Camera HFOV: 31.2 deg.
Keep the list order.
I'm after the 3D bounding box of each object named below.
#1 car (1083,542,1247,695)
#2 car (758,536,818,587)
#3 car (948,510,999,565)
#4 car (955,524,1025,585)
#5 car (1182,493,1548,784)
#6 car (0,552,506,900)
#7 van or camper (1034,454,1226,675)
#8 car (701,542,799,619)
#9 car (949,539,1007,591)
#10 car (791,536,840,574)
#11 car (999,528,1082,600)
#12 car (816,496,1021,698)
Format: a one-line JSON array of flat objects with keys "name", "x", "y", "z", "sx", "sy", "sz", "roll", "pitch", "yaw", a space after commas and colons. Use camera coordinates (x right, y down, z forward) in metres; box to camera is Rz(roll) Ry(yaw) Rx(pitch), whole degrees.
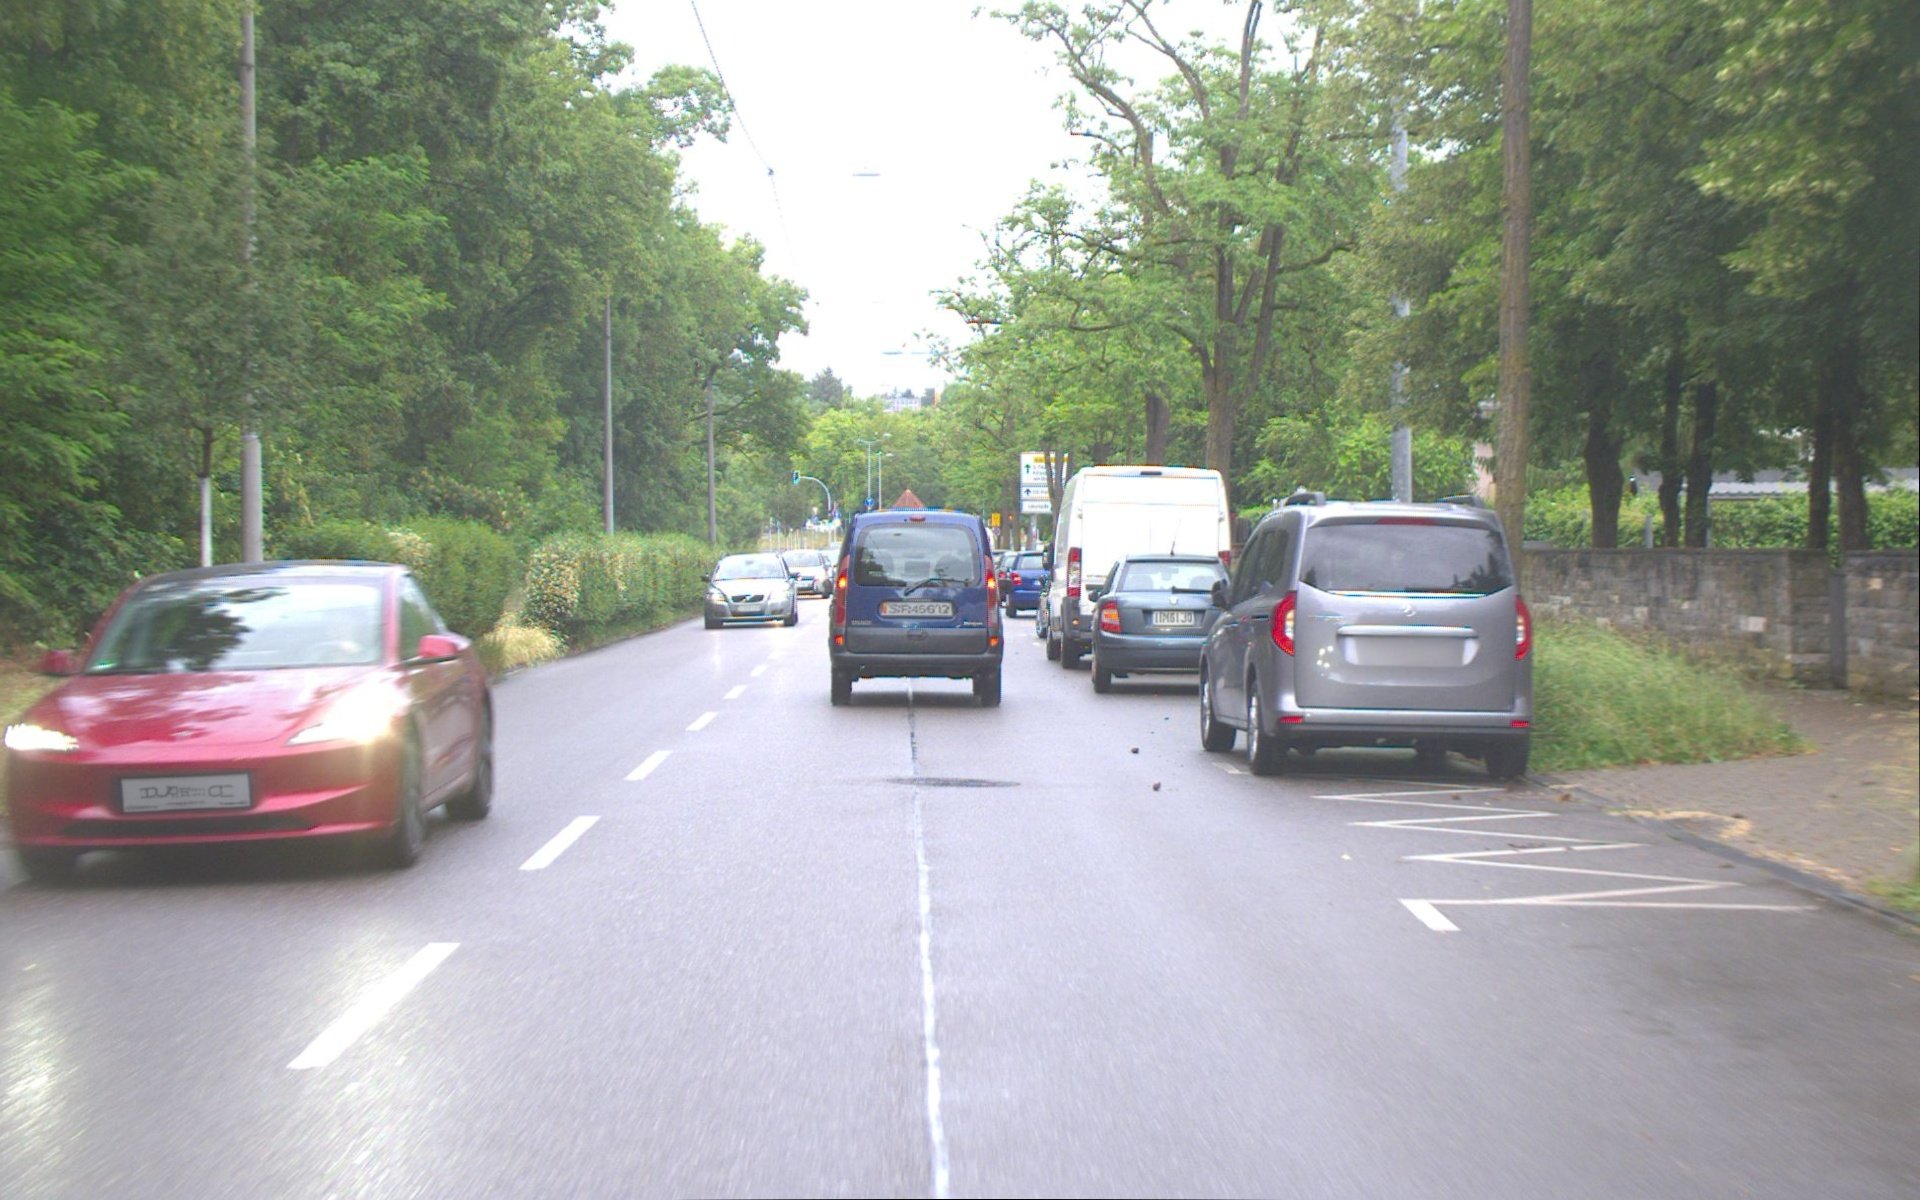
[{"name": "car", "x": 2.146, "y": 0.154, "z": 36.682, "sx": 1.626, "sy": 1.459, "sz": 3.808, "roll": 1, "pitch": 2, "yaw": 2}, {"name": "car", "x": -5.395, "y": -1.236, "z": 108.388, "sx": 1.729, "sy": 1.487, "sz": 4.001, "roll": -1, "pitch": 2, "yaw": -1}, {"name": "car", "x": 0.592, "y": -2.790, "z": 154.613, "sx": 2.205, "sy": 2.441, "sz": 4.729, "roll": 0, "pitch": 1, "yaw": -1}, {"name": "car", "x": 0.763, "y": -1.221, "z": 90.539, "sx": 1.618, "sy": 1.503, "sz": 3.835, "roll": 1, "pitch": 2, "yaw": -2}, {"name": "car", "x": 2.700, "y": 0.178, "z": 23.884, "sx": 1.814, "sy": 1.807, "sz": 4.283, "roll": 1, "pitch": 2, "yaw": -3}, {"name": "car", "x": -3.460, "y": 0.521, "z": 17.075, "sx": 1.860, "sy": 1.475, "sz": 4.157, "roll": -1, "pitch": 1, "yaw": 0}, {"name": "van or camper", "x": 2.122, "y": -0.510, "z": 44.426, "sx": 2.078, "sy": 2.641, "sz": 5.346, "roll": 1, "pitch": 2, "yaw": -1}, {"name": "car", "x": -4.151, "y": -0.374, "z": 68.382, "sx": 1.783, "sy": 1.474, "sz": 3.968, "roll": -1, "pitch": 0, "yaw": -1}, {"name": "car", "x": 0.545, "y": -1.093, "z": 106.327, "sx": 1.632, "sy": 1.504, "sz": 2.958, "roll": 1, "pitch": 2, "yaw": -2}, {"name": "car", "x": -6.075, "y": -1.897, "z": 144.881, "sx": 1.856, "sy": 1.463, "sz": 4.447, "roll": -3, "pitch": 2, "yaw": 0}, {"name": "car", "x": 1.780, "y": -0.830, "z": 77.519, "sx": 1.721, "sy": 1.500, "sz": 4.050, "roll": 1, "pitch": 2, "yaw": 0}, {"name": "car", "x": -0.452, "y": -0.081, "z": 33.342, "sx": 1.766, "sy": 1.824, "sz": 3.543, "roll": 1, "pitch": 2, "yaw": -4}]
